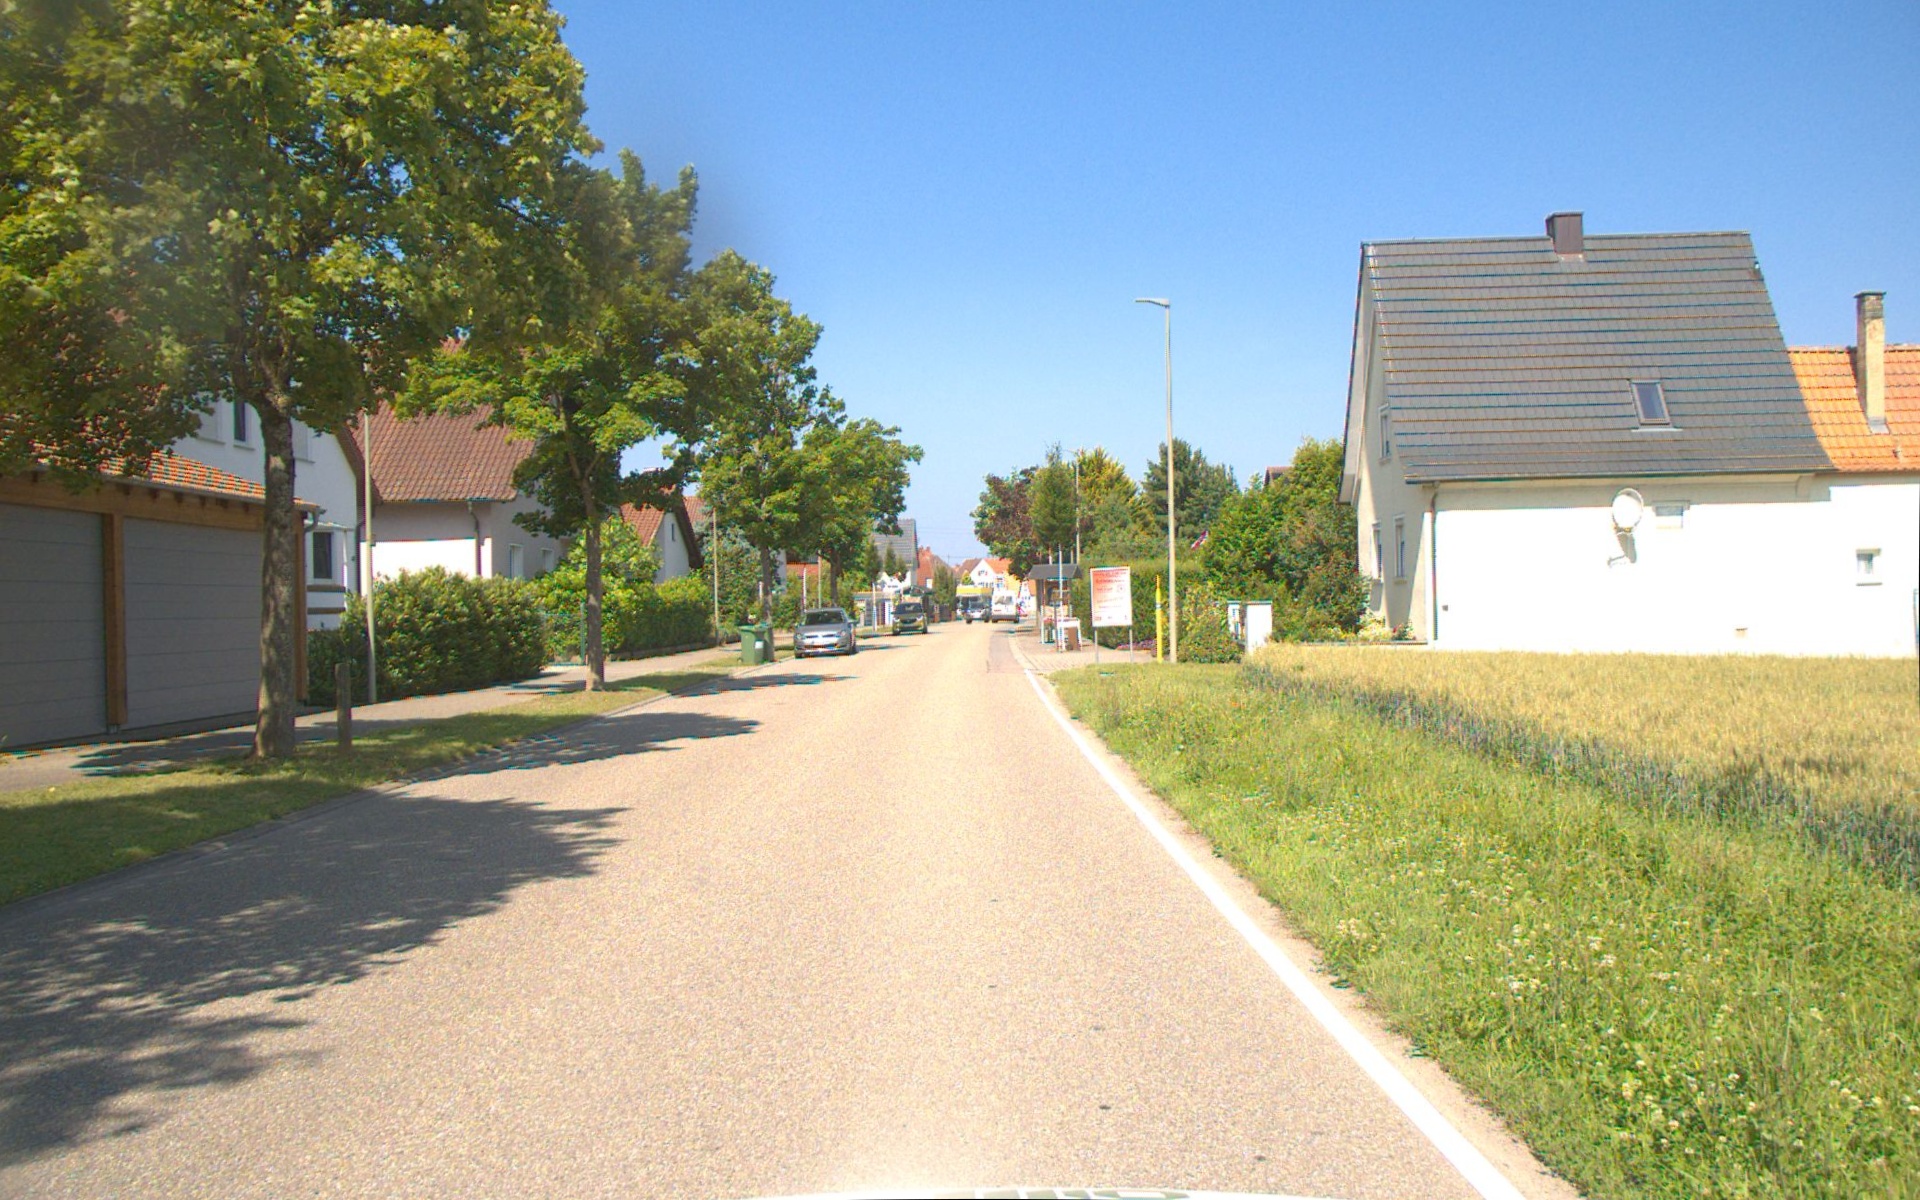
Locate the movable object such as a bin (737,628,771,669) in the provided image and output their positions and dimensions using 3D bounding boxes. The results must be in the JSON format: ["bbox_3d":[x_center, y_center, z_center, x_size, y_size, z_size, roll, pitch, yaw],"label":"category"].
[{"bbox_3d":[-5.693,1.338,45.783,0.699,1.097,0.639,-1,-1,26],"label":"movable object such as a bin"}]

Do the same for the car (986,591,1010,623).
[{"bbox_3d":[2.990,0.579,130.739,1.702,2.475,4.373,-1,-1,0],"label":"car"}]

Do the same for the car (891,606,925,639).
[{"bbox_3d":[-2.590,1.119,82.156,1.632,1.550,3.440,-2,-1,-2],"label":"car"}]

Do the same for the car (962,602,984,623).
[{"bbox_3d":[1.140,1.092,143.648,1.798,1.783,3.795,-1,0,-1],"label":"car"}]

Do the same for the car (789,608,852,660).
[{"bbox_3d":[-4.286,1.030,51.190,1.614,1.448,4.079,-3,0,-1],"label":"car"}]

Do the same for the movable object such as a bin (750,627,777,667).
[{"bbox_3d":[-5.513,1.315,46.434,0.562,1.097,0.599,-1,-1,14],"label":"movable object such as a bin"}]
